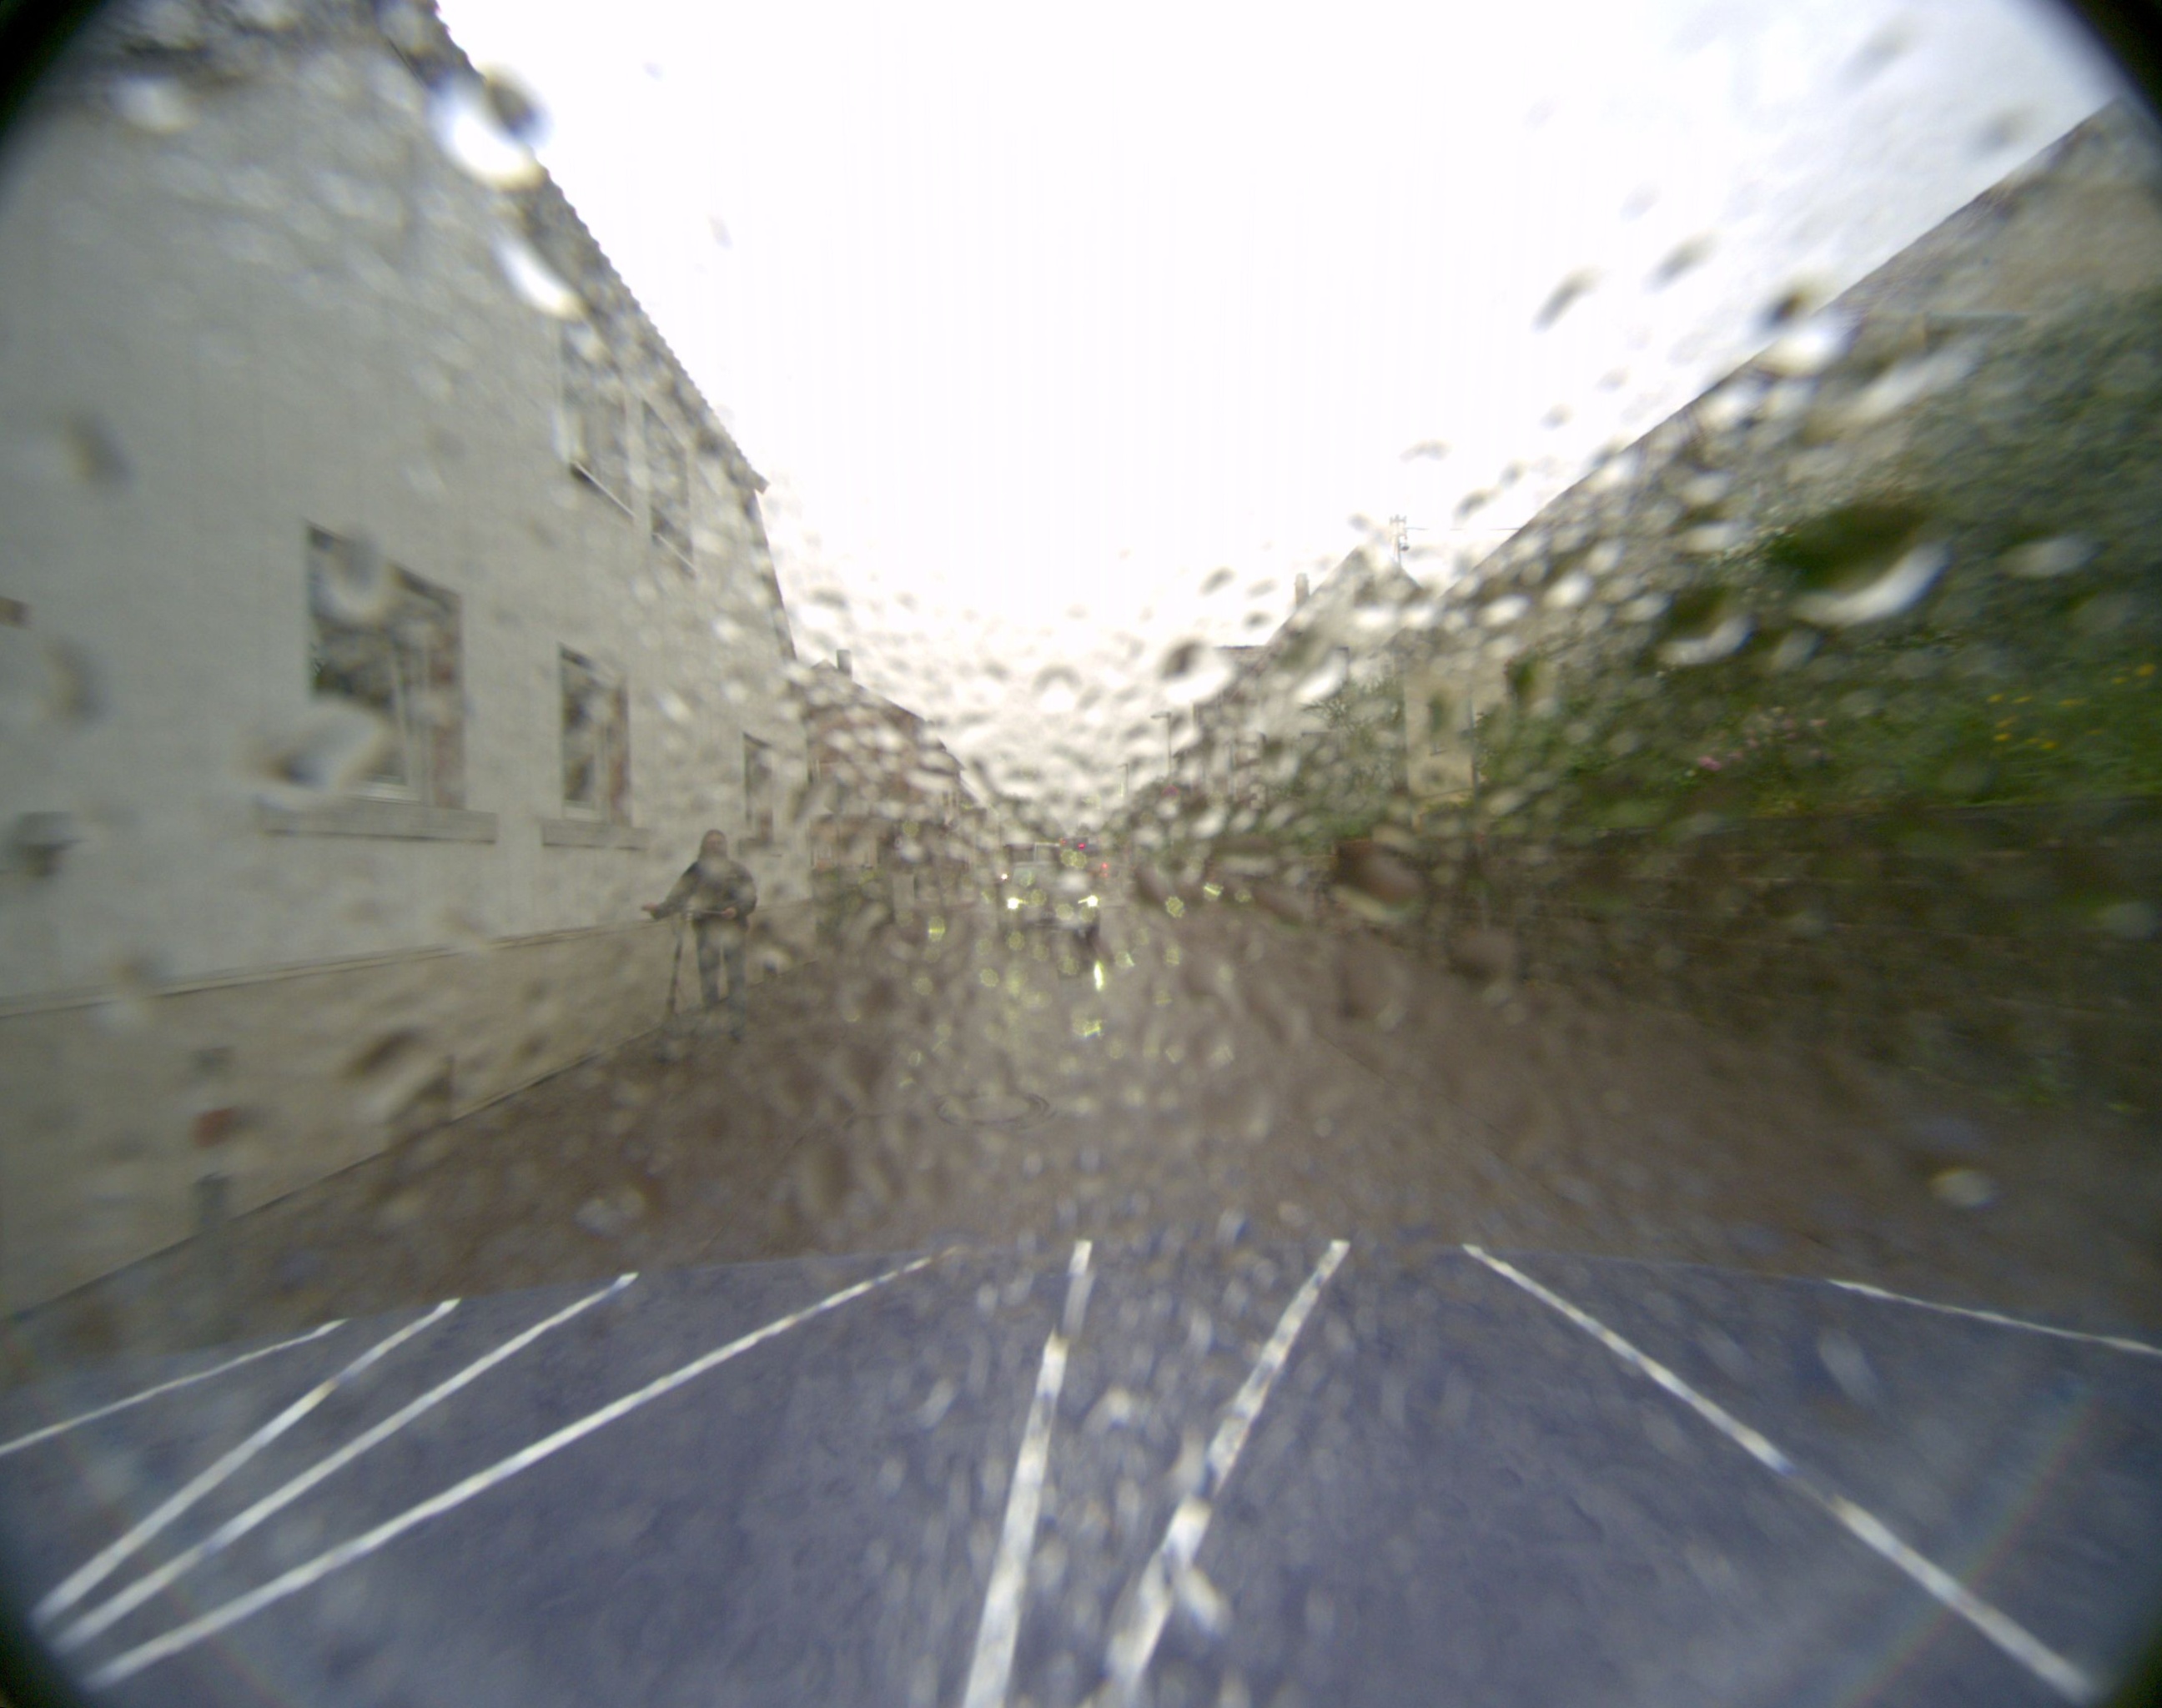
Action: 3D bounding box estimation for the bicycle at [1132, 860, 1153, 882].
[{"bbox_3d":[3.380,0.935,41.711,0.682,1.045,2.338,-10,1,-3],"label":"bicycle"}]

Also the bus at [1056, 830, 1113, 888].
[{"bbox_3d":[0.335,0.265,46.227,2.813,2.922,11.942,-4,0,1],"label":"bus"}]

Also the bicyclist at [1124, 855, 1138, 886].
[{"bbox_3d":[2.900,0.969,44.082,0.658,1.759,0.703,-4,-1,-3],"label":"bicyclist"}]

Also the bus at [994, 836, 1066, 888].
[{"bbox_3d":[-3.610,0.481,58.970,3.439,3.391,13.874,-3,0,4],"label":"bus"}]

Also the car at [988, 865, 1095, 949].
[{"bbox_3d":[-0.775,0.961,15.420,1.780,1.348,4.188,-4,-1,-2],"label":"car"}]

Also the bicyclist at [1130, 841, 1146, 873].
[{"bbox_3d":[3.129,0.154,41.797,0.689,1.703,0.703,-4,1,-3],"label":"bicyclist"}]

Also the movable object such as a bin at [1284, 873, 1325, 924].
[{"bbox_3d":[4.345,0.852,14.794,0.539,0.925,0.544,-4,1,-5],"label":"movable object such as a bin"}]

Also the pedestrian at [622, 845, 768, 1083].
[{"bbox_3d":[-2.994,0.804,5.982,0.696,1.722,0.821,-1,1,-3],"label":"pedestrian"}]

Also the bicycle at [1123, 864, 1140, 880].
[{"bbox_3d":[2.927,1.049,44.126,0.663,0.865,1.935,-4,-2,-4],"label":"bicycle"}]
